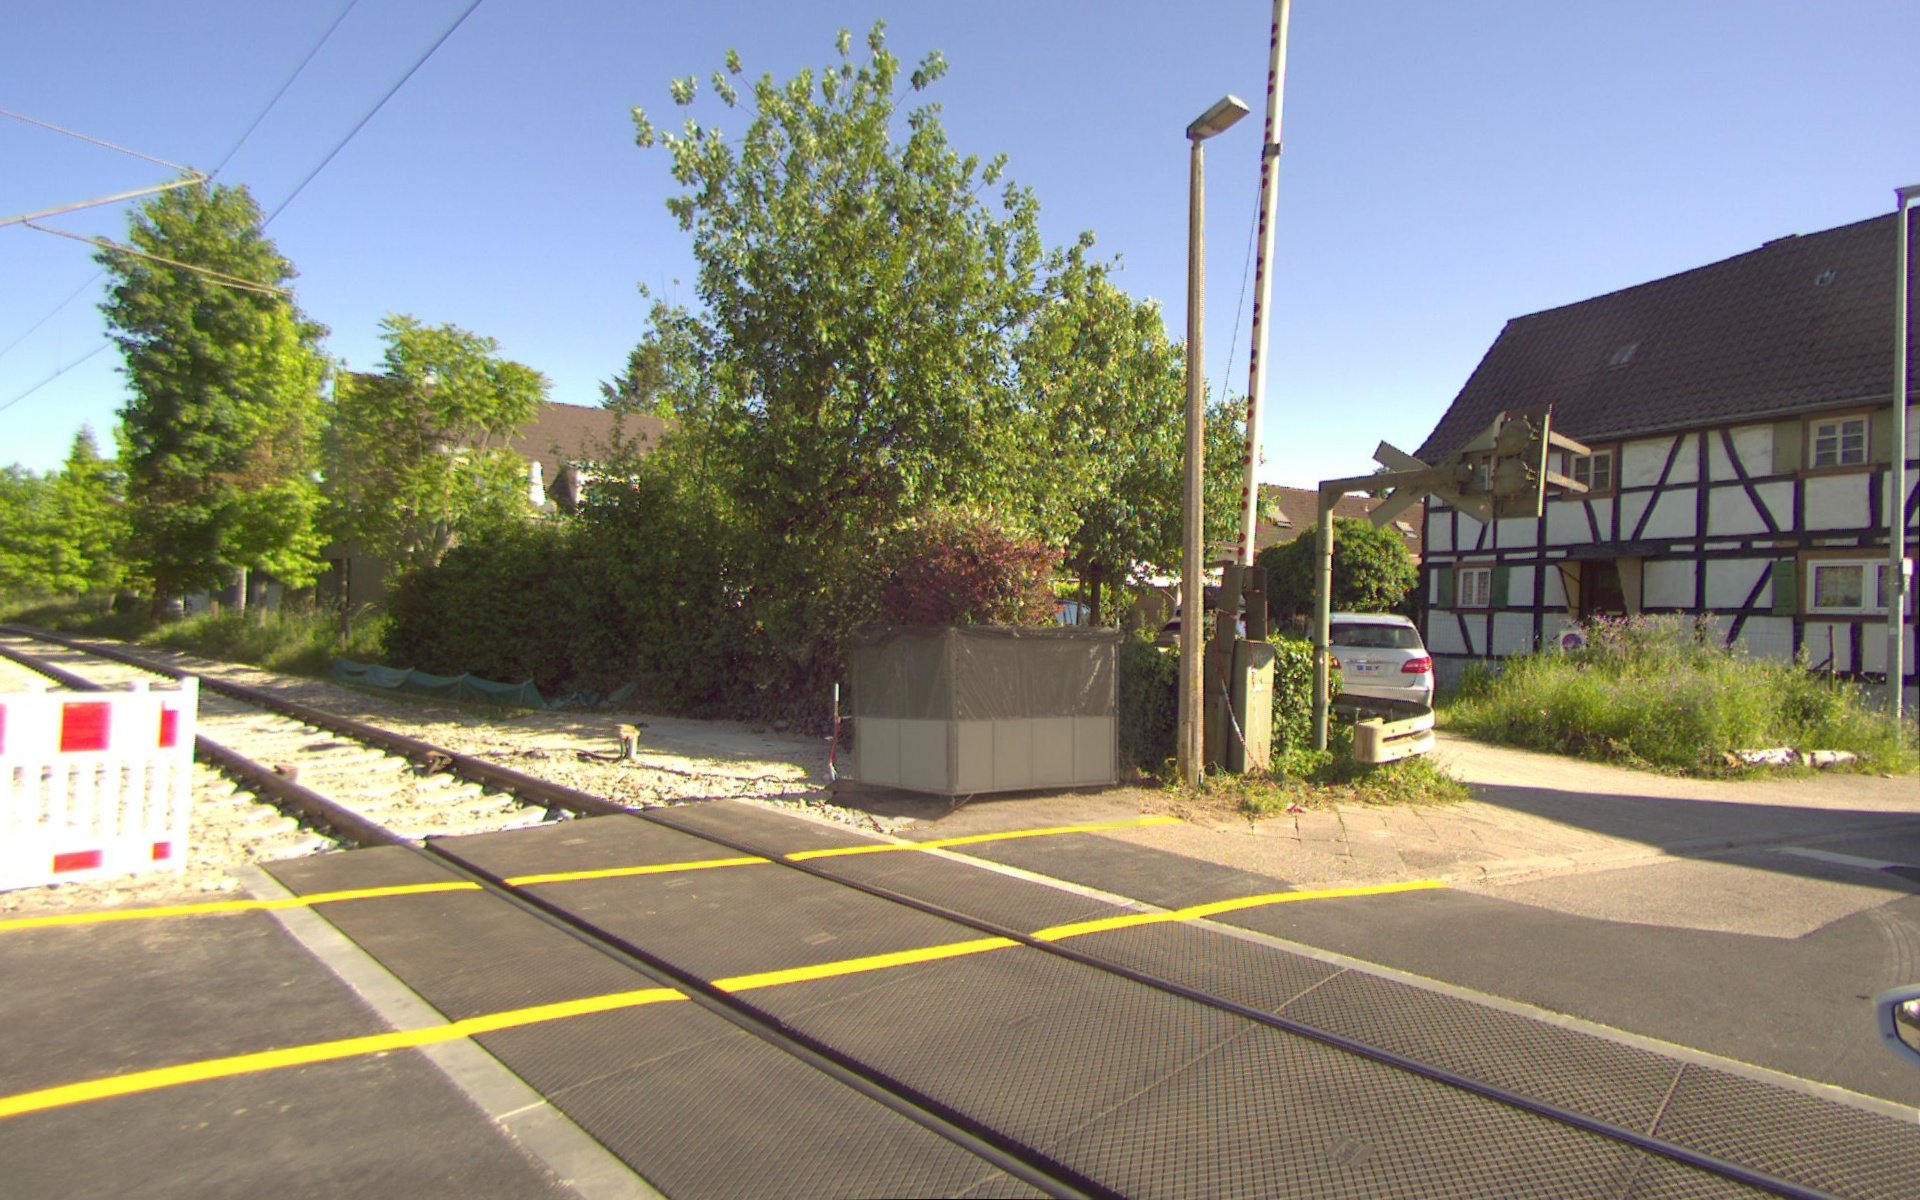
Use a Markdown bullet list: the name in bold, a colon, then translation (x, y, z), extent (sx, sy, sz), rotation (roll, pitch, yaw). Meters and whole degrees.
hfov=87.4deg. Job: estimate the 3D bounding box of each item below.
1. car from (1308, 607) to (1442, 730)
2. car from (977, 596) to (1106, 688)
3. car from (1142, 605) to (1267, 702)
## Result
- **car**: translation (6.521, 0.993, 16.008), extent (1.656, 1.585, 4.000), rotation (4, 0, 21)
- **car**: translation (1.802, 0.851, 20.914), extent (1.620, 1.655, 3.832), rotation (3, -1, 21)
- **car**: translation (4.309, 0.858, 17.315), extent (1.610, 1.420, 3.832), rotation (2, -1, 21)
